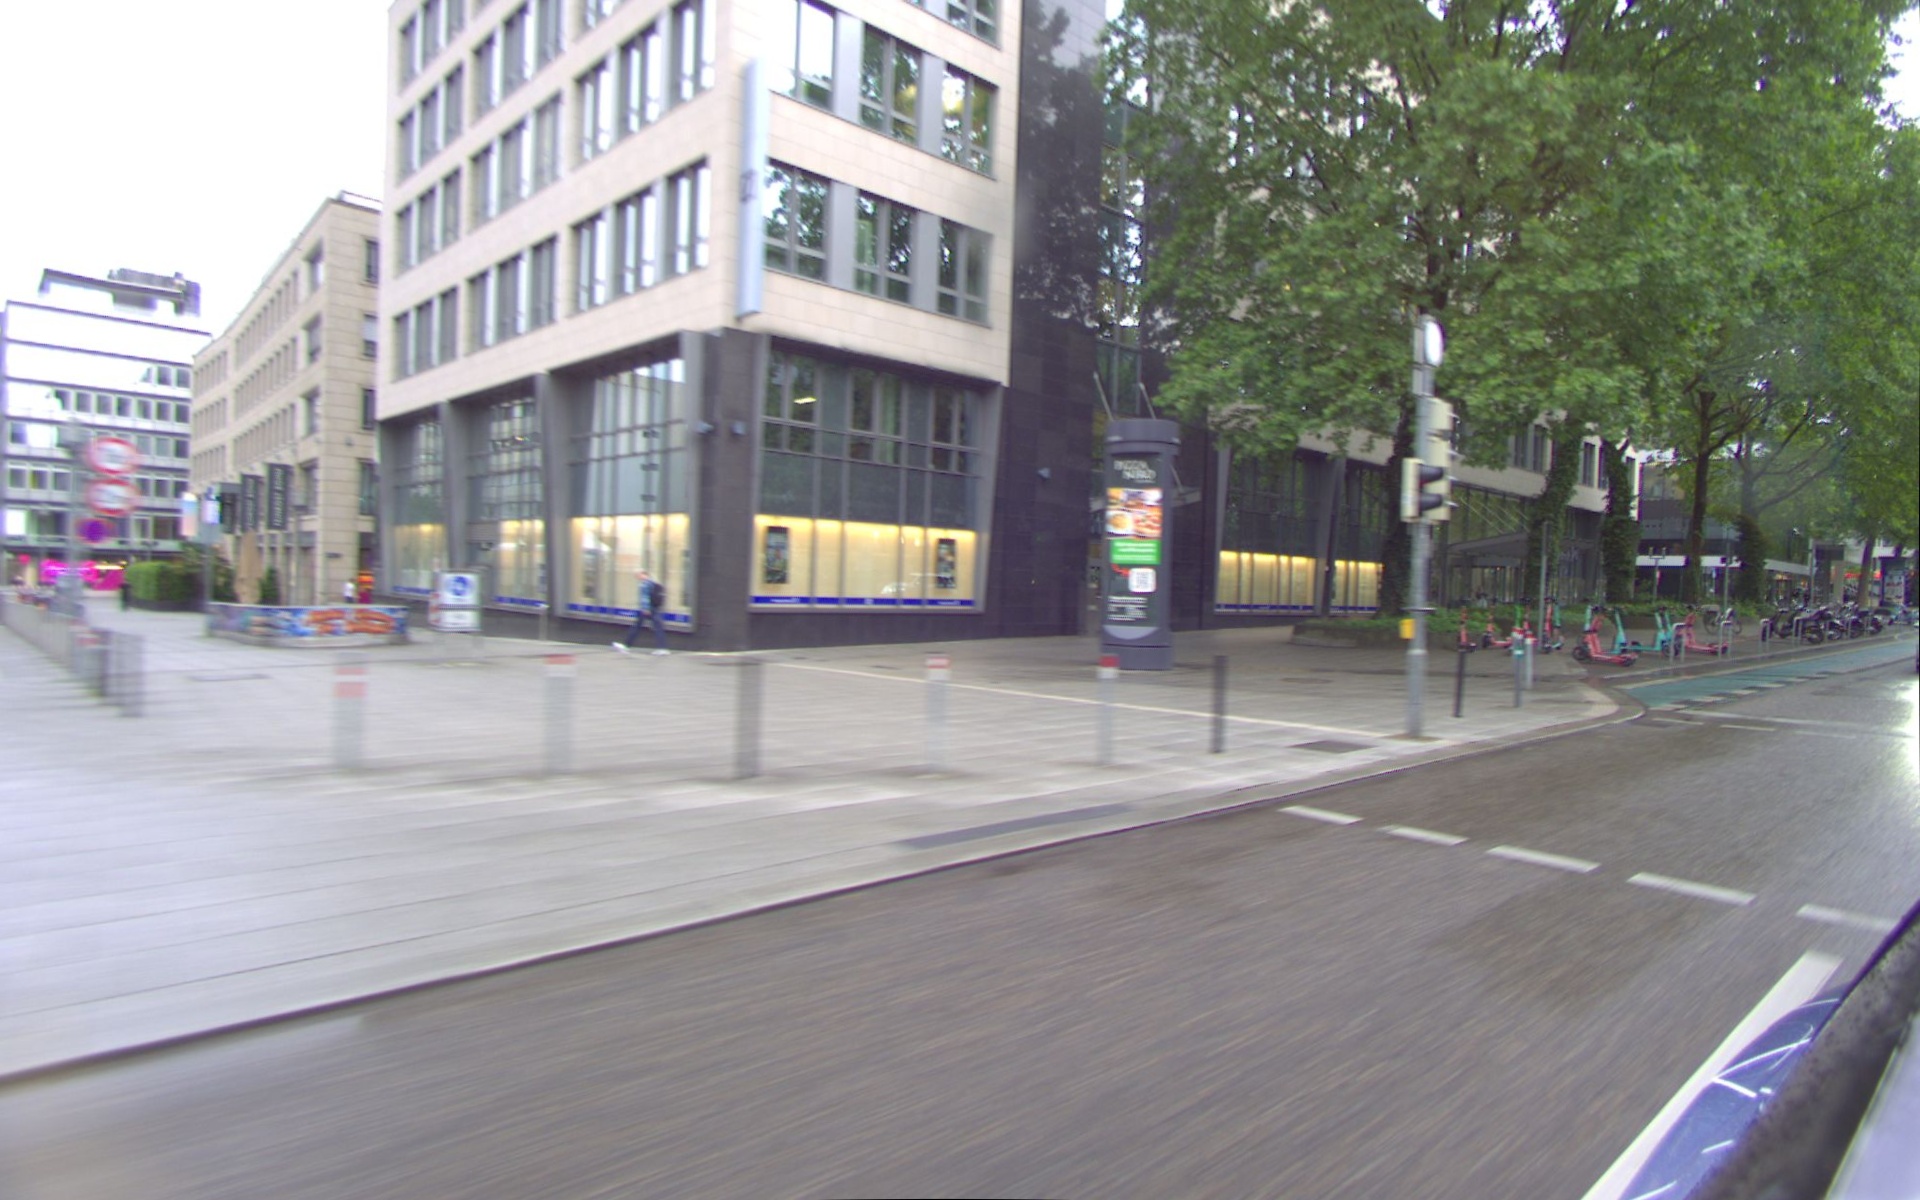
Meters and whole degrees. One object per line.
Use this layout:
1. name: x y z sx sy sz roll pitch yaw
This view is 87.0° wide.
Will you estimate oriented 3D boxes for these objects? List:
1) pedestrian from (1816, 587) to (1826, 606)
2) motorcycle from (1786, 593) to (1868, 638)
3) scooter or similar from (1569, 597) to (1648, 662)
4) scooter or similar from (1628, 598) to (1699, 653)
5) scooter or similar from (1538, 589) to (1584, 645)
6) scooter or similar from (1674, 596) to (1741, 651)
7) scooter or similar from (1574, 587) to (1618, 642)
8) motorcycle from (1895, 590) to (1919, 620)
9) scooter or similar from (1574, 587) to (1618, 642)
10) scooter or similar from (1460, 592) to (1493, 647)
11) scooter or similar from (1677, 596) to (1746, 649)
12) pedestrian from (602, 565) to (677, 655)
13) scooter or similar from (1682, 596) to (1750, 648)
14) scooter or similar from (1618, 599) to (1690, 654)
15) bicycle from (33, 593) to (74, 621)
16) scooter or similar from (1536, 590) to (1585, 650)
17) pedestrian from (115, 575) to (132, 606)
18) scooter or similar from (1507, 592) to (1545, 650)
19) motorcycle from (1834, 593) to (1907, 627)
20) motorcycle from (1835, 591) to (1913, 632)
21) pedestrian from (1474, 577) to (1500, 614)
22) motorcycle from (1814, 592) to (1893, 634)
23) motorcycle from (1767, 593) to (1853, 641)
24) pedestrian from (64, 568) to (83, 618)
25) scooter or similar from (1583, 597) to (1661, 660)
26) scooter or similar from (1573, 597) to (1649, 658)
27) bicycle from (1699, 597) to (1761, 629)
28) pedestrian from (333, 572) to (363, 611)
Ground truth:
1. pedestrian: 78.828 -0.330 92.635 0.707 1.645 0.527 -2 4 -40
2. motorcycle: 29.536 0.515 34.497 1.945 1.391 0.721 4 1 30
3. scooter or similar: 13.937 0.621 21.779 0.479 1.275 1.296 2 1 -28
4. scooter or similar: 17.371 0.618 25.013 0.480 1.251 1.293 2 1 -37
5. scooter or similar: 14.315 0.406 24.082 1.270 1.275 0.489 2 1 -40
6. scooter or similar: 19.194 0.590 25.990 1.288 1.294 0.529 4 1 40
7. scooter or similar: 15.441 0.357 24.560 1.270 1.275 0.489 2 1 -40
8. motorcycle: 47.136 0.258 49.531 1.909 1.383 0.685 3 4 1
9. scooter or similar: 15.441 0.357 24.560 1.270 1.275 0.489 2 1 -40
10. scooter or similar: 11.917 0.429 23.360 0.483 1.212 1.286 1 2 19
11. scooter or similar: 19.663 0.578 26.481 0.527 1.294 1.294 2 1 -35
12. pedestrian: -6.850 0.191 21.681 1.255 1.873 0.918 0 1 8
13. scooter or similar: 19.986 0.570 26.775 0.527 1.294 1.294 2 1 -35
14. scooter or similar: 16.813 0.631 24.540 0.480 1.251 1.293 2 1 -37
15. bicycle: -35.582 0.273 39.748 1.175 1.053 0.350 -1 1 -41
16. scooter or similar: 13.381 0.445 22.529 1.270 1.275 0.489 2 1 -40
17. pedestrian: -44.535 -0.508 53.864 0.676 1.652 0.684 0 0 -38
18. scooter or similar: 12.484 0.453 22.303 0.487 1.212 1.275 1 2 41
19. motorcycle: 37.056 0.393 41.194 2.031 1.227 0.682 3 3 16
20. motorcycle: 35.512 0.440 39.353 2.043 1.446 0.721 4 1 30
21. pedestrian: 24.868 -0.227 47.772 0.813 1.714 0.729 2 1 3
22. motorcycle: 32.237 0.460 36.541 1.945 1.391 0.721 4 1 30
23. motorcycle: 27.016 0.520 32.205 1.949 1.391 0.720 4 1 35
24. pedestrian: -36.975 -0.298 42.213 0.562 2.039 0.704 1 0 -43
25. scooter or similar: 14.444 0.612 22.106 0.479 1.275 1.296 2 1 -28
26. scooter or similar: 14.610 0.597 22.737 0.479 1.275 1.296 2 1 -28
27. bicycle: 25.771 0.421 33.860 1.727 1.040 0.640 1 1 -11
28. pedestrian: -29.469 -0.393 48.735 1.068 1.853 0.726 1 0 -43
